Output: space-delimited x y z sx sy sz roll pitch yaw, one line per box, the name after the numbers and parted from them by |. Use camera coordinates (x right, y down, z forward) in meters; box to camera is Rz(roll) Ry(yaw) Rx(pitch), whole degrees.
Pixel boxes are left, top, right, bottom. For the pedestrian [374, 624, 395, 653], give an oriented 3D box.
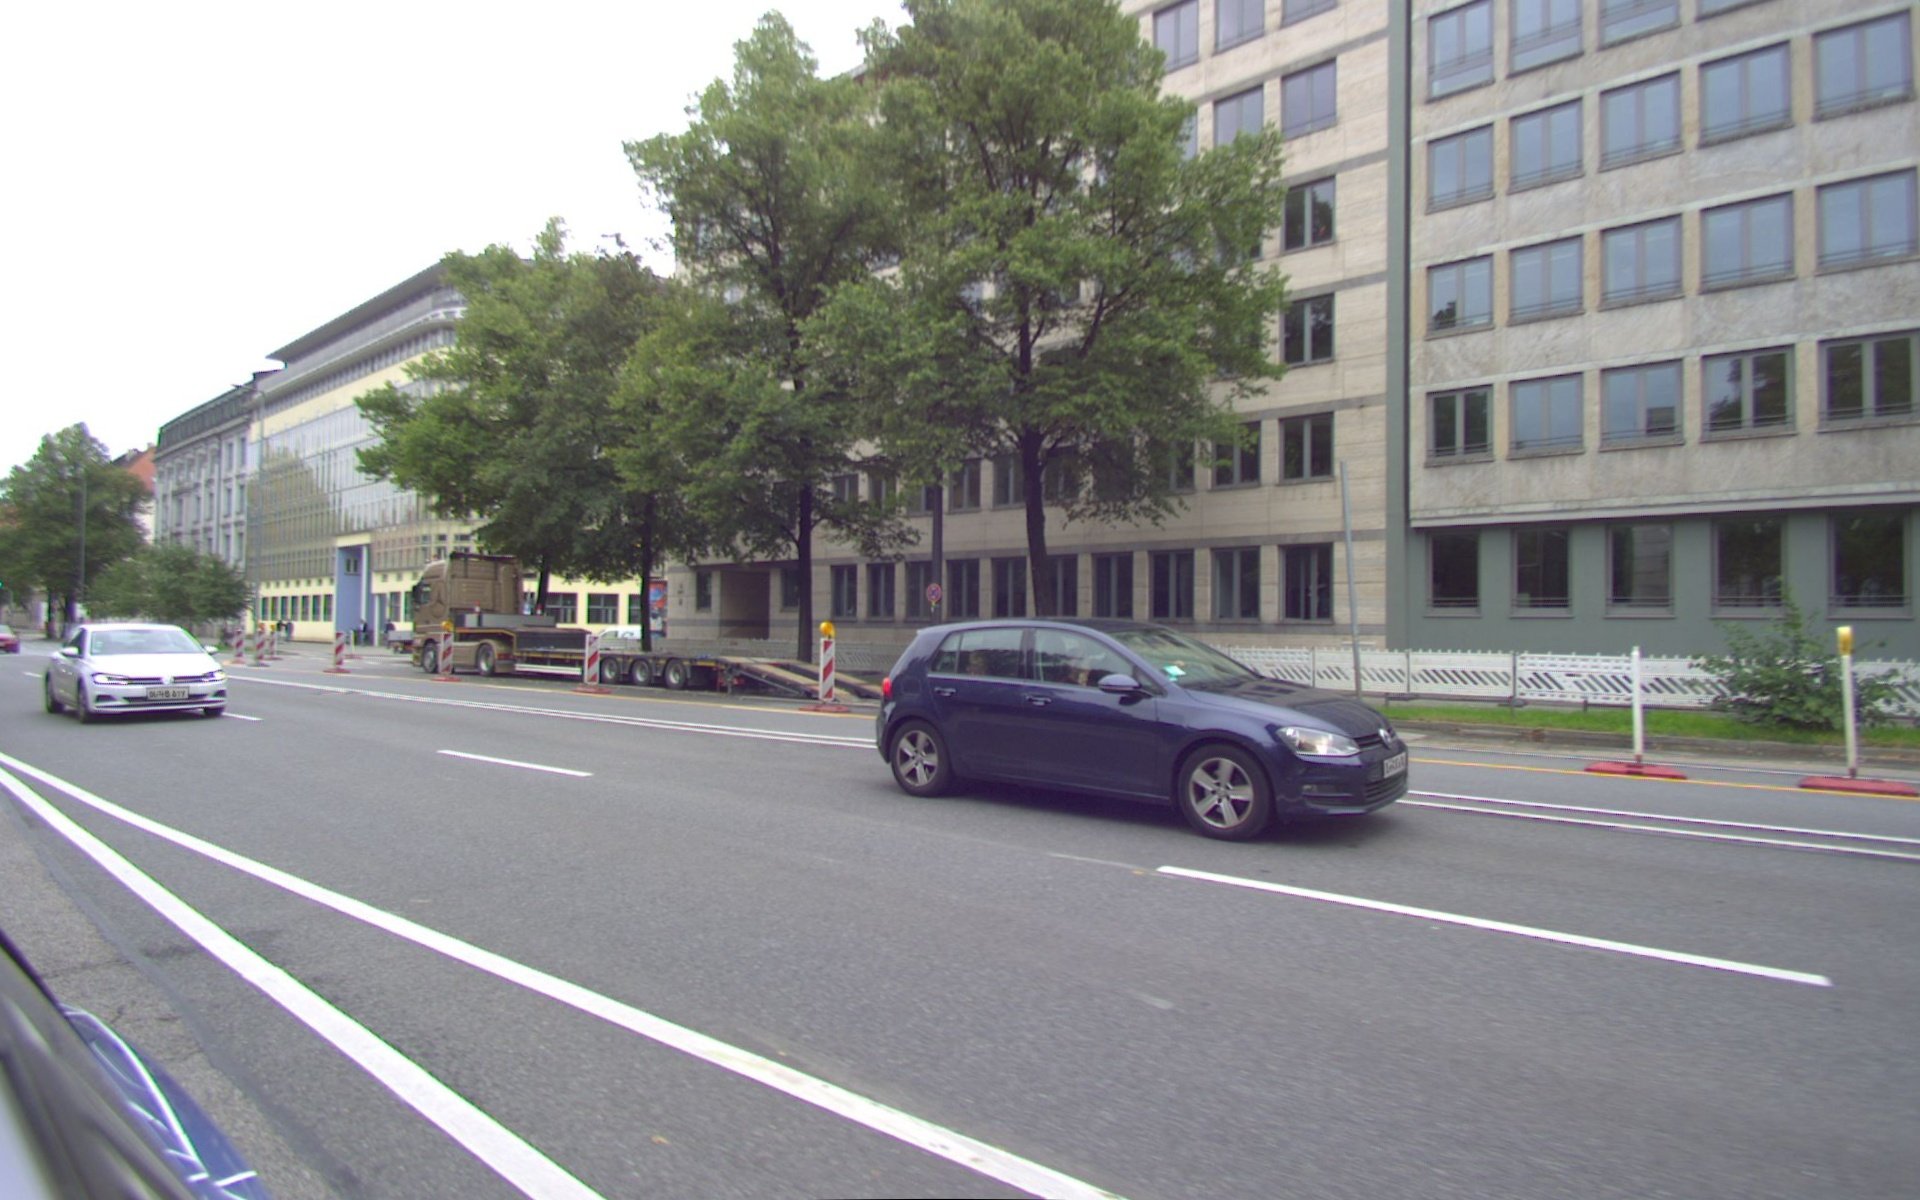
-35.026 2.330 61.637 0.978 1.747 0.817 0 -1 -19 | pedestrian

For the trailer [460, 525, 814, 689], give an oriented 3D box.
-9.268 0.262 27.798 11.747 3.768 2.923 -1 -1 36 | trailer

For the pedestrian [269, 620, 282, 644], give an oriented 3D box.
-49.705 2.317 73.467 0.835 1.790 0.609 -1 -1 41 | pedestrian

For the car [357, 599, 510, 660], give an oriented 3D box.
-23.322 1.341 45.075 2.153 2.556 5.628 -1 -3 37 | car

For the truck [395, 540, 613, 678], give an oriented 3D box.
-14.324 0.321 31.538 7.652 3.803 2.889 -1 -1 37 | truck

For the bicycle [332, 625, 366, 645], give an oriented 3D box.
-43.280 2.461 71.741 0.637 1.328 1.991 -1 -1 35 | bicycle

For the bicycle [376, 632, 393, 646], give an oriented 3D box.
-36.993 2.533 65.040 1.737 0.884 0.471 -2 -3 44 | bicycle

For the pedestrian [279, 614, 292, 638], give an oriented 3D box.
-49.282 1.893 73.976 0.835 1.790 0.609 -1 -1 41 | pedestrian

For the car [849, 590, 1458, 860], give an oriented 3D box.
1.264 0.765 7.779 4.335 1.528 1.674 -1 -3 40 | car

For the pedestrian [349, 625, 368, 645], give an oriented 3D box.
-41.080 2.409 69.123 1.085 1.375 0.829 -2 -3 41 | pedestrian

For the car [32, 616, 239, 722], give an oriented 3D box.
-13.114 1.004 16.013 4.272 1.458 1.774 -1 -2 40 | car
